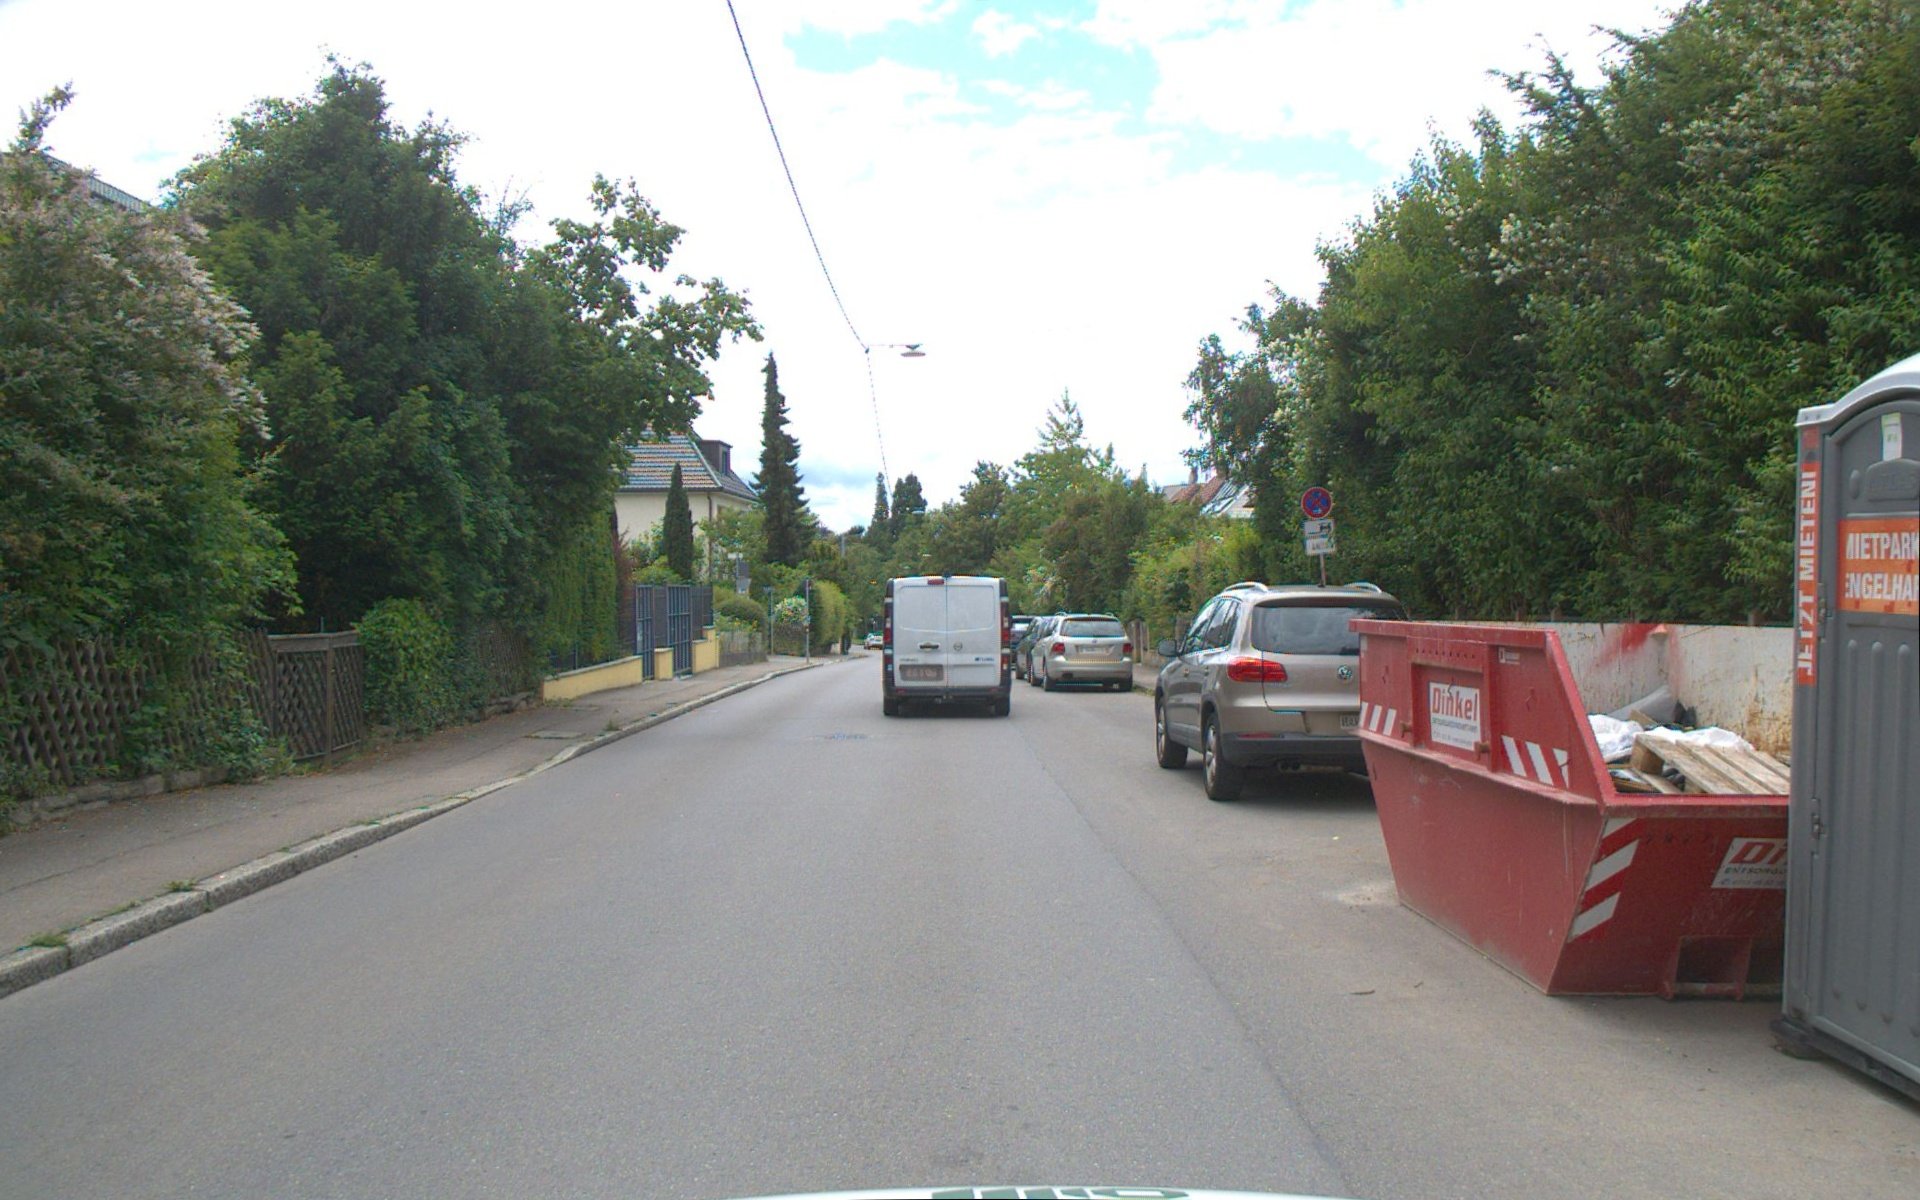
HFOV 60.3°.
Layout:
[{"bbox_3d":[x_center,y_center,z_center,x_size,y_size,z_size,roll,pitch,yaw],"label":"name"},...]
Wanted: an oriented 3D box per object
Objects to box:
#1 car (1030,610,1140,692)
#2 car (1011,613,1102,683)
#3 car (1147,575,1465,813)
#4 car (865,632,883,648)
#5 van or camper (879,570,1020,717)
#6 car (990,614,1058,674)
[{"bbox_3d":[2.411,0.954,32.833,1.709,1.472,4.257,-1,0,-2],"label":"car"},{"bbox_3d":[2.170,1.065,38.239,1.709,1.472,4.257,-1,0,-2],"label":"car"},{"bbox_3d":[2.770,0.689,14.179,1.709,1.704,4.183,-1,0,-2],"label":"car"},{"bbox_3d":[-8.802,4.053,169.188,1.709,1.552,4.010,-1,0,-2],"label":"car"},{"bbox_3d":[-0.210,0.626,24.959,1.900,1.988,4.763,1,-1,-2],"label":"van or camper"},{"bbox_3d":[1.865,1.265,49.412,1.709,1.658,4.257,-1,0,-2],"label":"car"}]
